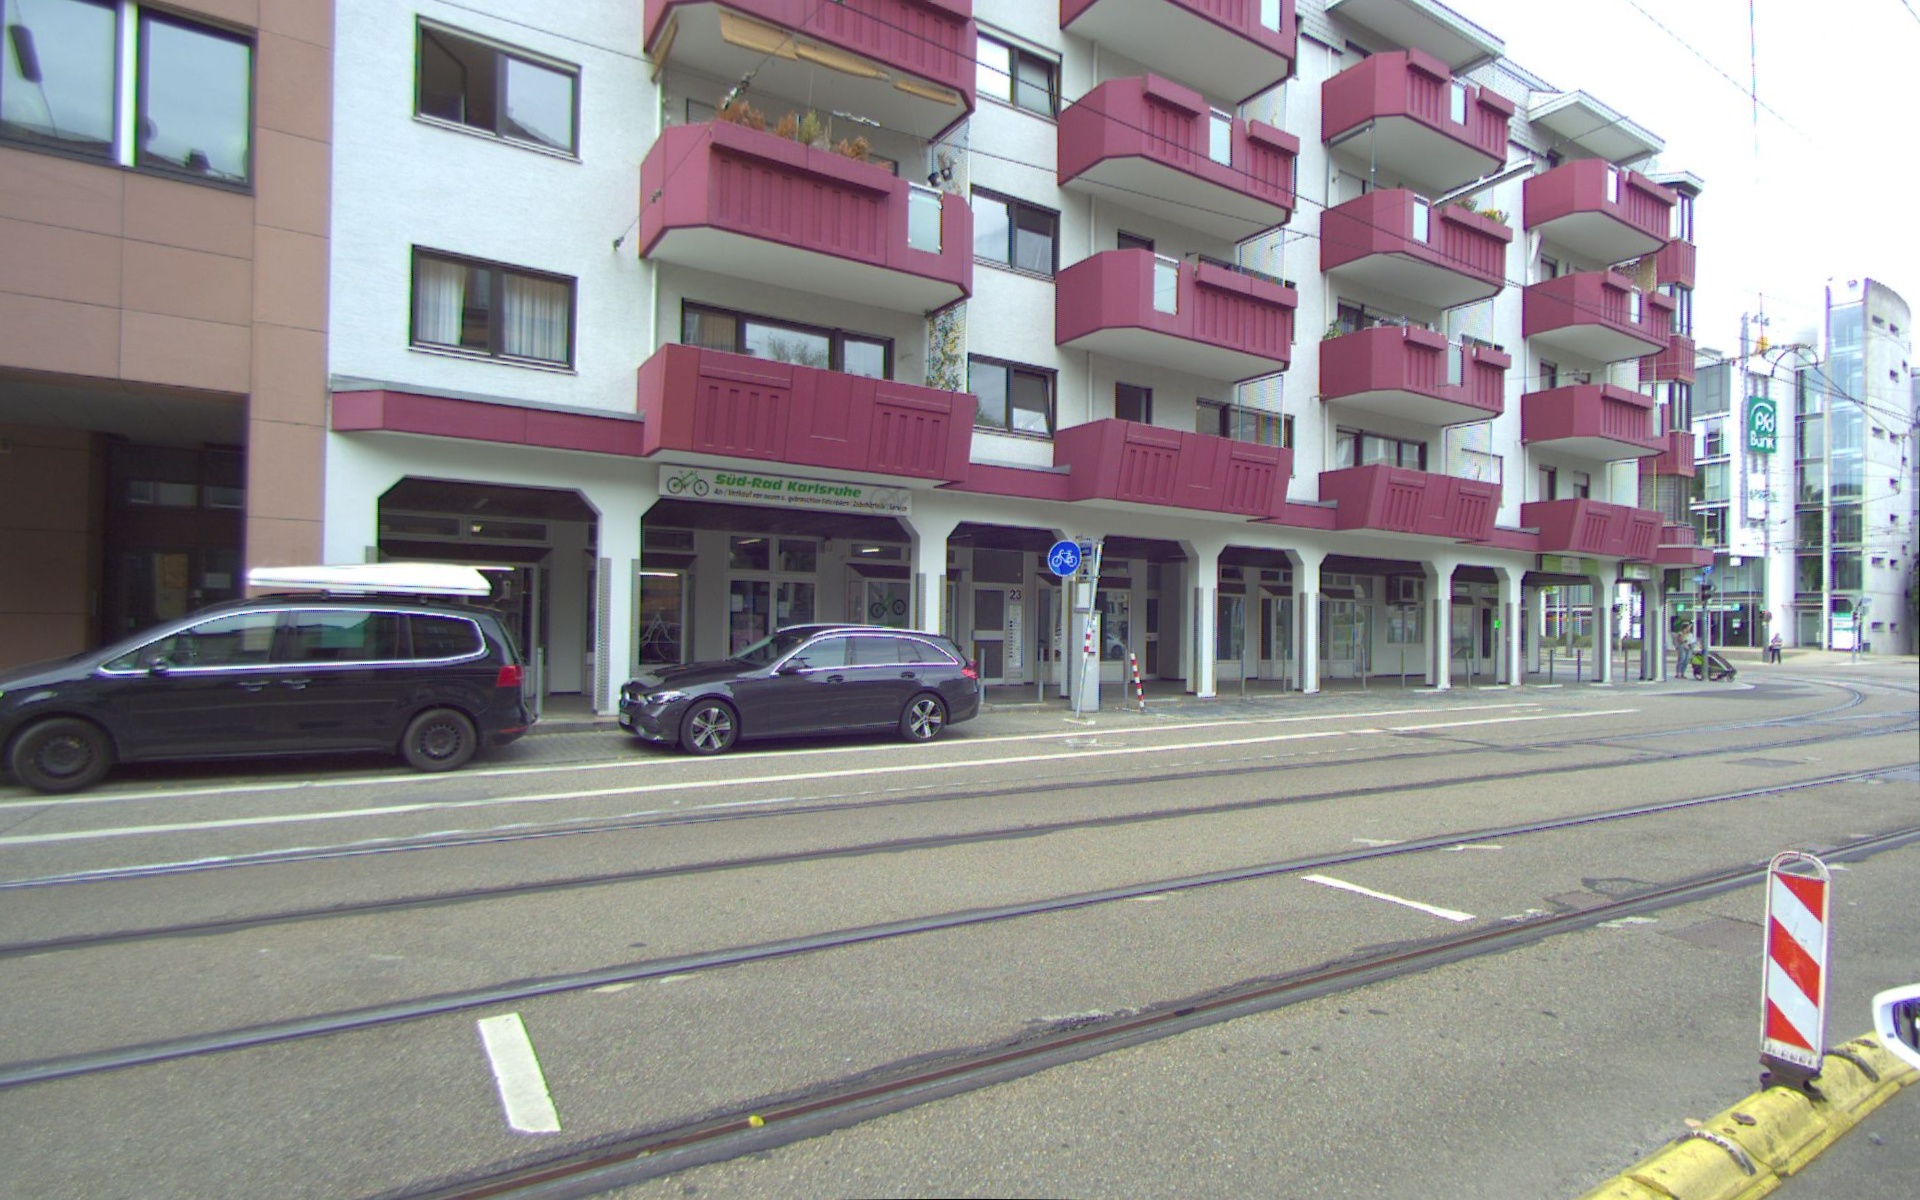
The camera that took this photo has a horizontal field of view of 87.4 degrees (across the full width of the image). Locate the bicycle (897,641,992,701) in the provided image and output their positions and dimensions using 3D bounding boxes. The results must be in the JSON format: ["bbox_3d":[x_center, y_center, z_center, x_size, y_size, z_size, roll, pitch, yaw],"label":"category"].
[{"bbox_3d":[-0.256,1.186,17.178,1.636,0.966,0.560,1,-1,-39],"label":"bicycle"}]

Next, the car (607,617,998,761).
[{"bbox_3d":[-1.927,1.021,12.899,4.645,1.500,1.745,1,1,-32],"label":"car"}]

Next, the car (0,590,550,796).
[{"bbox_3d":[-6.750,0.803,10.087,4.645,1.669,1.797,1,1,-32],"label":"car"}]

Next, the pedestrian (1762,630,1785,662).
[{"bbox_3d":[49.127,2.788,60.659,0.754,1.889,0.833,1,-1,-17],"label":"pedestrian"}]

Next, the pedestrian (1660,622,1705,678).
[{"bbox_3d":[23.105,1.583,32.124,0.803,1.766,0.942,1,-1,-33],"label":"pedestrian"}]

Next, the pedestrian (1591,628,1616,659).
[{"bbox_3d":[35.819,2.412,55.930,0.753,1.693,0.935,1,-1,-17],"label":"pedestrian"}]

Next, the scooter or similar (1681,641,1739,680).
[{"bbox_3d":[23.519,1.889,31.506,0.936,1.143,1.189,1,0,-32],"label":"scooter or similar"}]
